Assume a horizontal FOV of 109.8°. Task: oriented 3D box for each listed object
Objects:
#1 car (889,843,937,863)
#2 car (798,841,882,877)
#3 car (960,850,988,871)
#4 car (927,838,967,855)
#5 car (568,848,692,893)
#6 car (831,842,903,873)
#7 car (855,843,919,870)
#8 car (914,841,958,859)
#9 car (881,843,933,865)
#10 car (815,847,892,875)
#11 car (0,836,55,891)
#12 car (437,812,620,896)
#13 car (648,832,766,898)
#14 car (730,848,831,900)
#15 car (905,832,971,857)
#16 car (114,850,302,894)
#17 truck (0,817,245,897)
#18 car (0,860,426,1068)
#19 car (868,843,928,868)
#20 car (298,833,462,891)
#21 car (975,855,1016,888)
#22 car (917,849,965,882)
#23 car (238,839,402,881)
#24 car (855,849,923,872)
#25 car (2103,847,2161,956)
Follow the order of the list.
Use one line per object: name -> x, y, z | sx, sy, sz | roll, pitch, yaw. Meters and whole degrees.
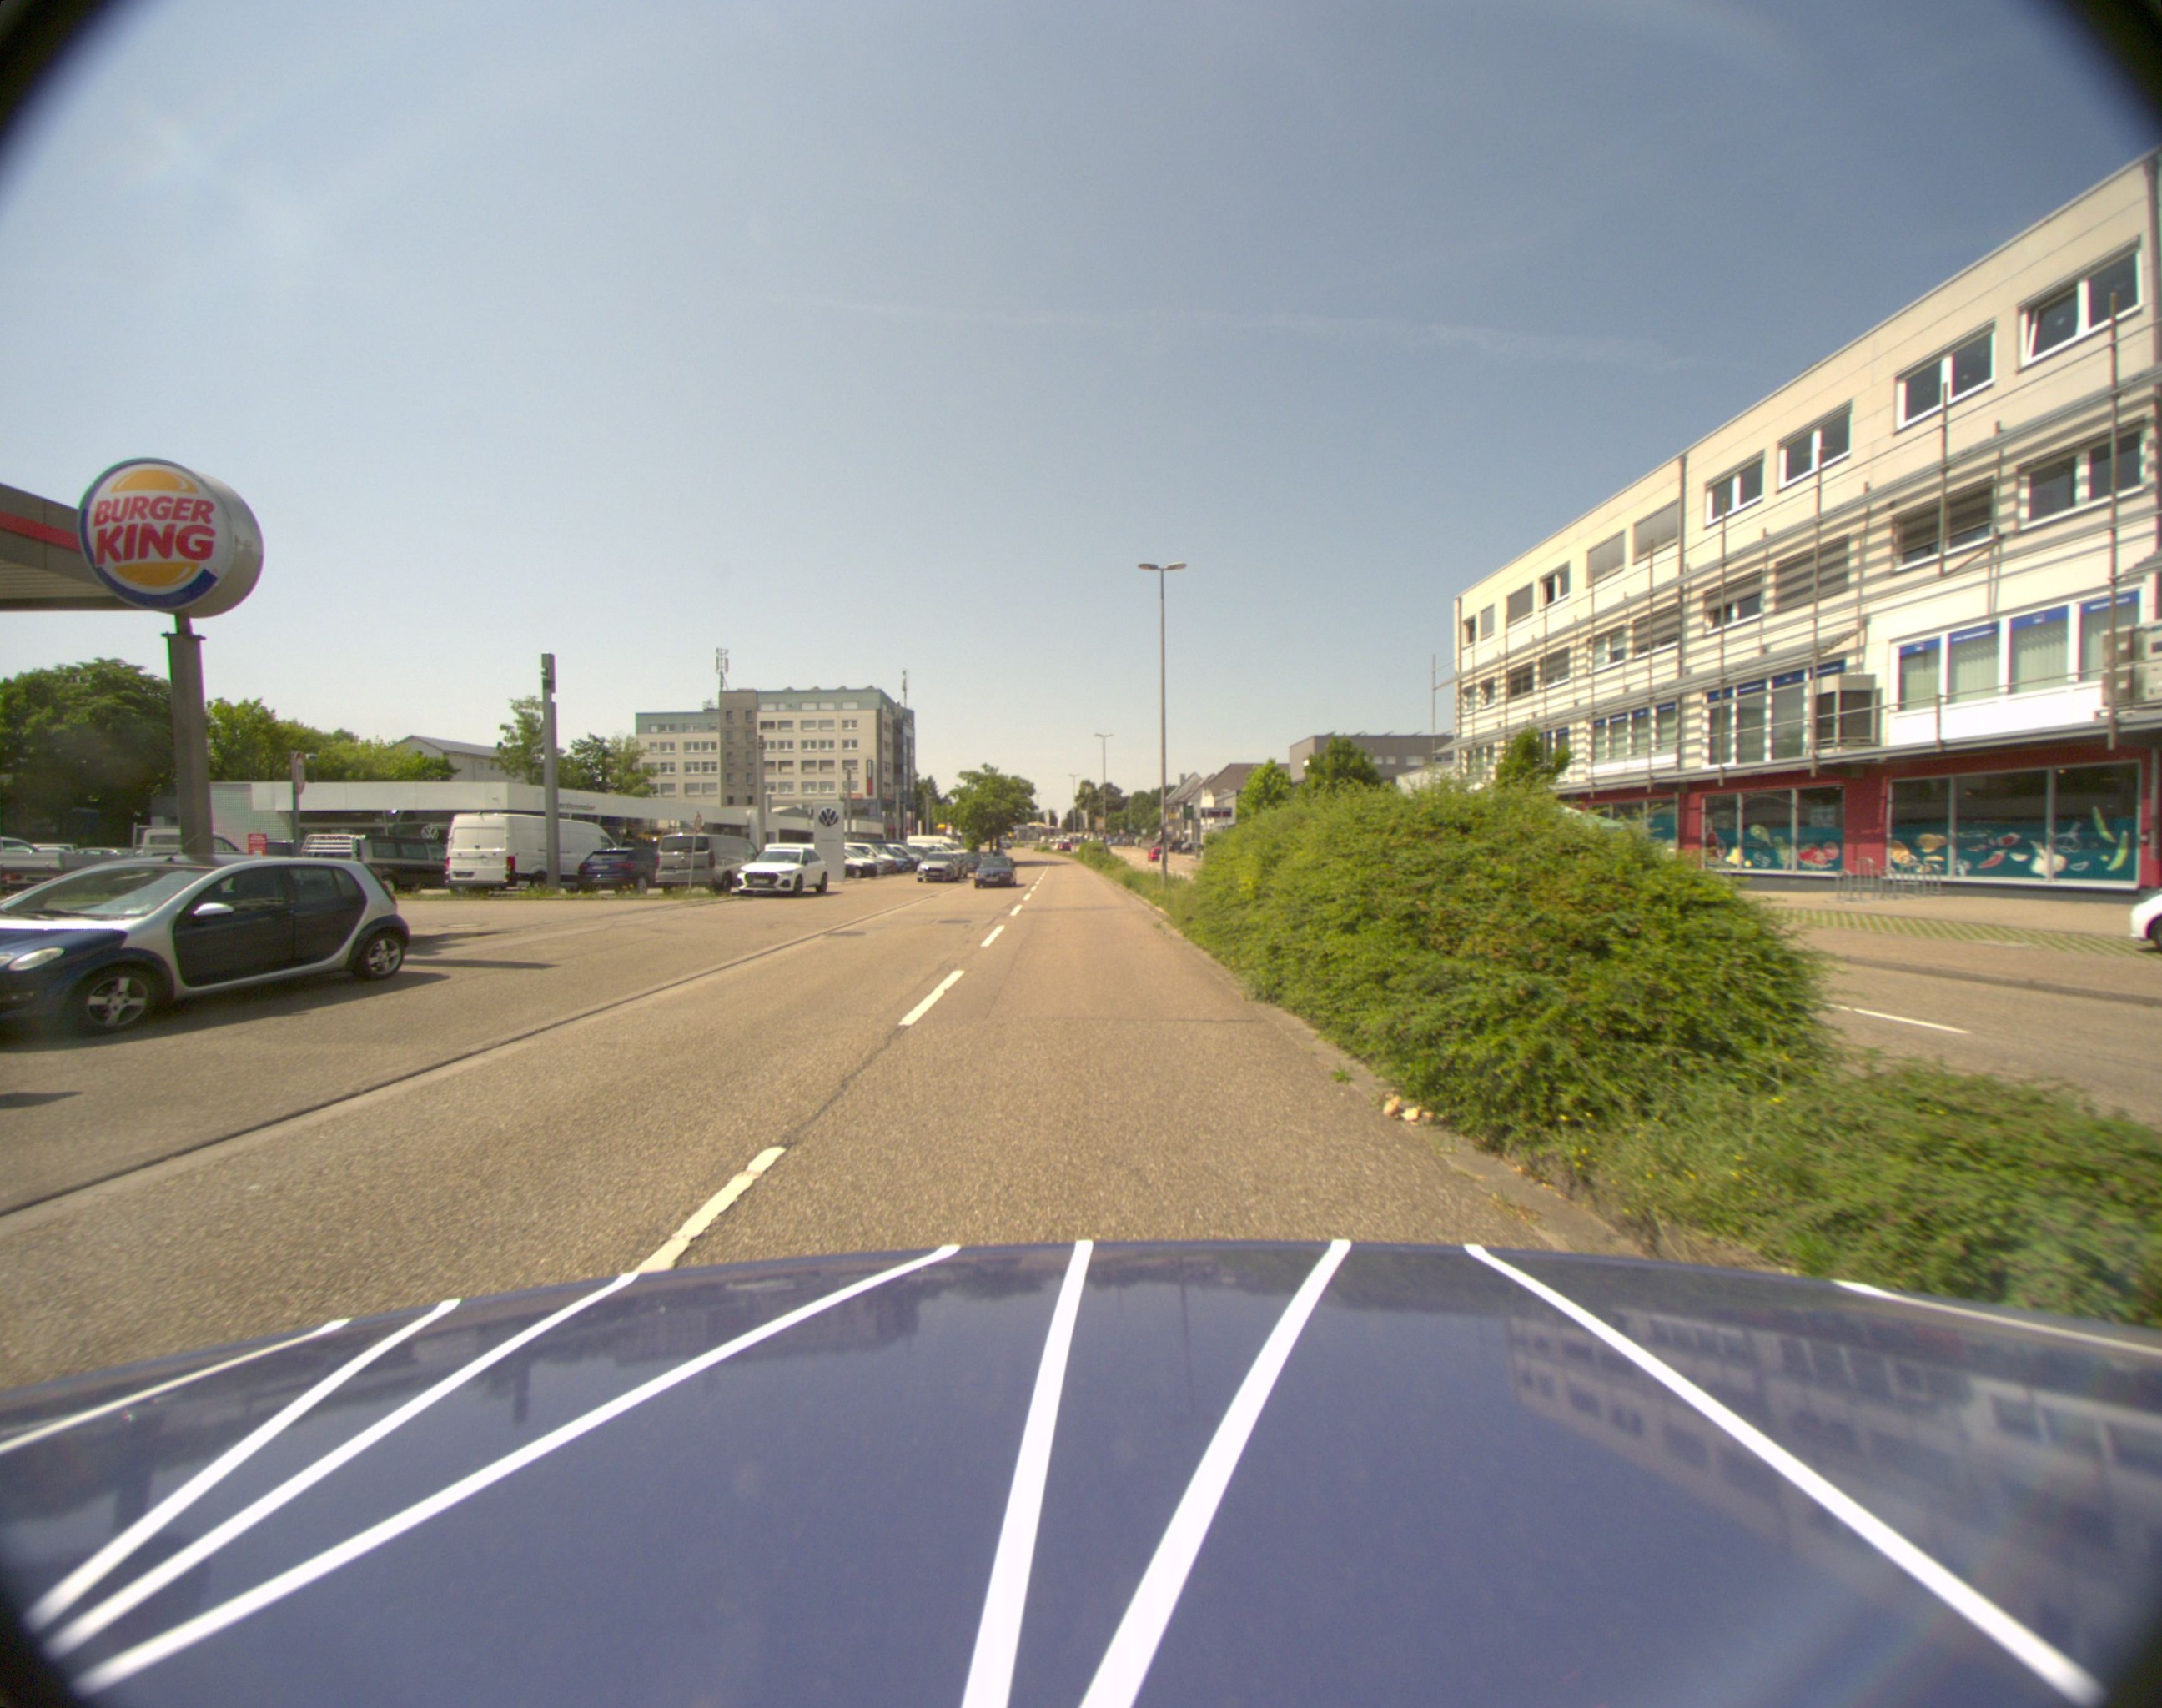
car -> -14.825, -0.128, 67.198 | 3.999, 1.755, 1.724 | 0, 1, -6
car -> -12.883, 0.254, 40.835 | 3.999, 1.907, 1.724 | 0, 1, -6
car -> -7.794, 0.443, 55.534 | 1.562, 1.390, 4.214 | 0, 1, -2
car -> -13.939, -0.791, 79.320 | 3.999, 1.755, 1.724 | 0, 1, -6
car -> -14.847, 0.499, 25.317 | 1.808, 1.368, 3.999 | 0, 1, -1
car -> -13.099, 0.198, 46.640 | 3.999, 1.906, 1.724 | 0, 1, -6
car -> -13.167, 0.167, 51.673 | 3.999, 1.838, 1.724 | 0, 1, -6
car -> -14.054, -0.366, 73.838 | 3.999, 1.755, 1.724 | 0, 1, -6
car -> -14.278, -0.034, 62.511 | 3.999, 1.755, 1.724 | 0, 1, -6
car -> -13.055, 0.357, 43.800 | 3.999, 1.569, 1.724 | 0, 1, -6
car -> -36.664, 0.322, 24.298 | 1.999, 1.820, 4.205 | 0, 1, -1
car -> -17.741, -0.031, 24.867 | 2.058, 2.421, 5.573 | 0, 1, -3
car -> -12.302, 0.316, 25.322 | 1.999, 2.002, 3.999 | 0, 1, -1
car -> -10.012, 0.601, 25.670 | 1.860, 1.572, 3.999 | 1, 1, -1
car -> -15.420, -1.032, 82.369 | 6.888, 2.589, 1.724 | 0, 1, -6
car -> -28.207, 0.545, 24.761 | 1.753, 1.297, 3.781 | 0, 1, -1
truck -> -31.055, 0.058, 24.723 | 2.246, 2.308, 5.020 | 0, 1, -3
car -> -8.994, 0.840, 7.580 | 1.681, 1.440, 3.839 | 2, 1, -2
car -> -13.102, 0.079, 54.630 | 3.999, 1.776, 1.724 | 0, 1, -6
car -> -22.991, 0.218, 25.165 | 1.753, 1.783, 3.999 | 0, 1, -1
car -> -3.807, 0.760, 34.370 | 1.632, 1.331, 3.755 | -1, 1, -4
car -> -7.153, 0.550, 39.150 | 1.867, 1.550, 3.999 | 0, 1, -2
car -> -25.445, 0.165, 25.618 | 1.753, 1.297, 3.781 | 0, 1, -1
car -> -12.389, 0.397, 49.191 | 3.999, 1.441, 1.724 | 0, 1, -6
car -> 15.256, 0.648, 8.848 | 1.696, 1.440, 3.664 | 0, 1, -2
